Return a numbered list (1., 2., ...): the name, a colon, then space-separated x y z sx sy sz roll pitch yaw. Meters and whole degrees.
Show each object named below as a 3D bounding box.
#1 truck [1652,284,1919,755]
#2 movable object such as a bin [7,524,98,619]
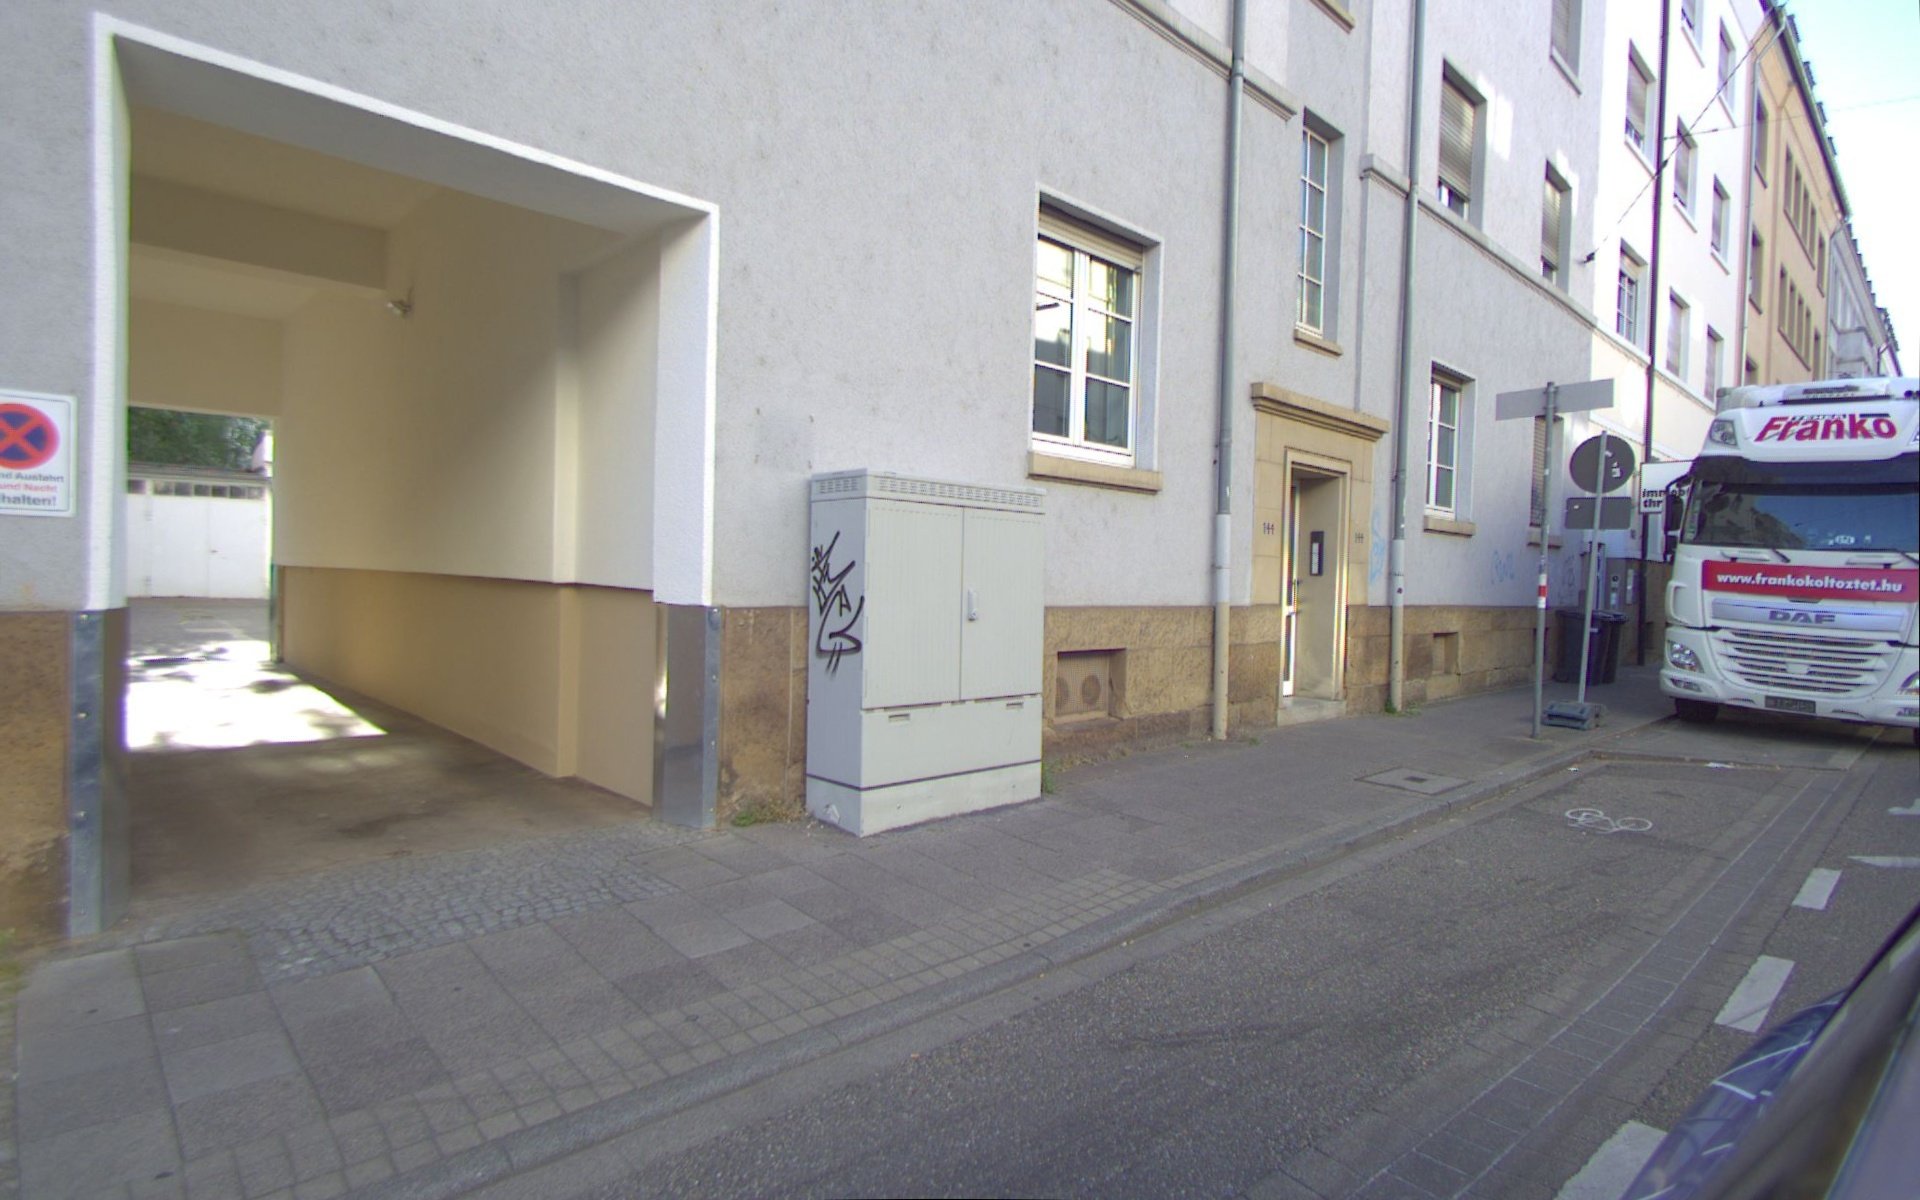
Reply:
1. truck: 12.531 -0.854 13.659 11.579 4.290 2.697 -1 3 -43
2. movable object such as a bin: -15.132 -0.462 16.904 1.091 1.512 1.328 0 0 -41
